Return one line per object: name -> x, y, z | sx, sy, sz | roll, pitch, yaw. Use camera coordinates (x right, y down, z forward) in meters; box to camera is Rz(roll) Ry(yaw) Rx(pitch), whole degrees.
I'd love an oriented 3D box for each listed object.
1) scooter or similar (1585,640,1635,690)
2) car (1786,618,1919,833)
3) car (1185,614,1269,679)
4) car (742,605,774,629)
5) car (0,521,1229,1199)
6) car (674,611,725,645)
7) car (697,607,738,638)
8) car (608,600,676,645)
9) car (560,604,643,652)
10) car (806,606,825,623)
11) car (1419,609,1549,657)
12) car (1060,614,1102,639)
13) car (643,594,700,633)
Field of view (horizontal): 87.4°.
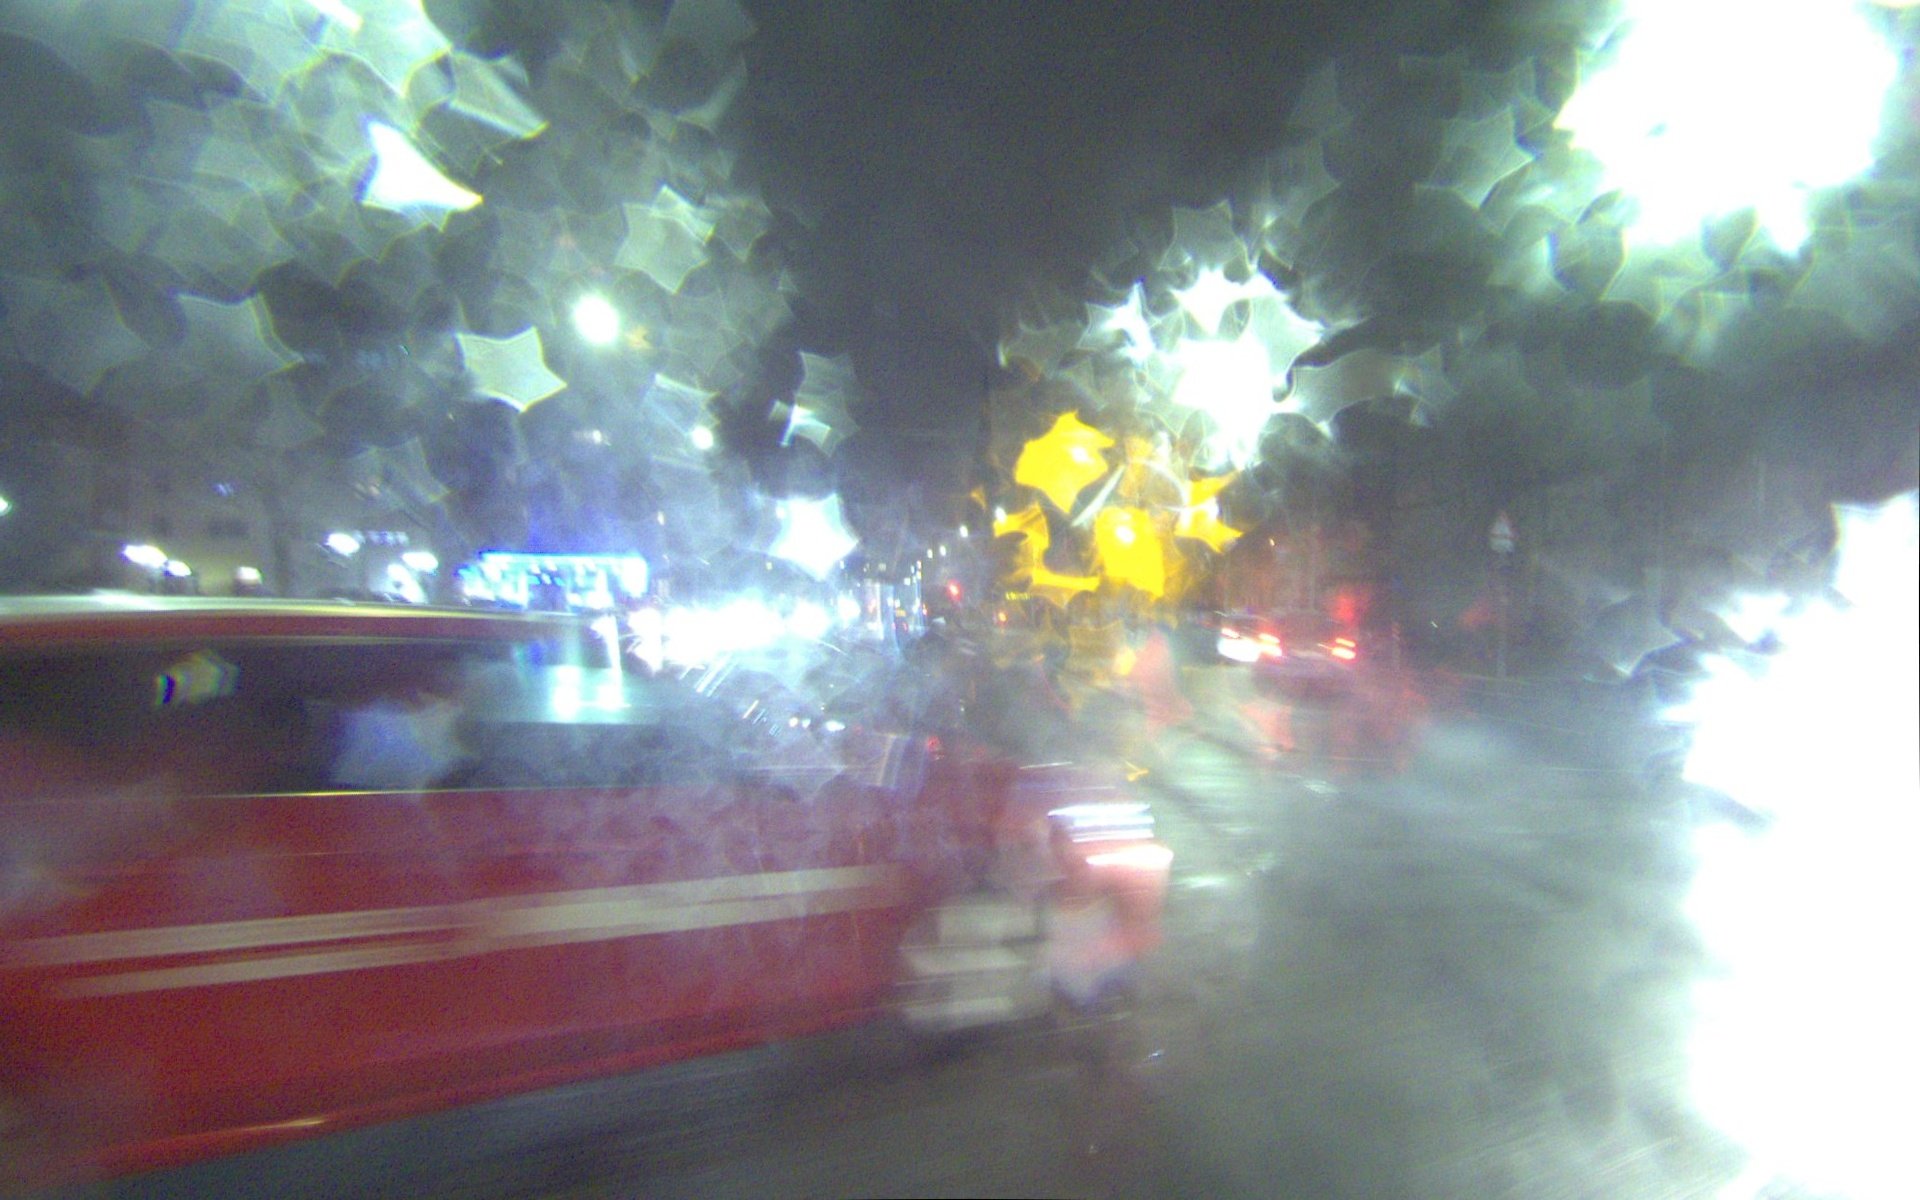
scooter or similar -> 16.992, 1.690, 26.261 | 1.060, 1.256, 0.285 | 1, 0, 32
car -> 8.742, 0.967, 8.402 | 3.945, 1.563, 1.697 | 1, 0, -33
car -> 8.014, 1.329, 30.491 | 1.859, 1.804, 4.336 | 0, 0, 7
car -> -15.475, 1.302, 77.126 | 1.862, 1.766, 4.737 | 1, 0, -4
car -> -1.420, 0.642, 3.371 | 4.674, 1.563, 1.808 | 1, 0, -32
car -> -14.243, 1.483, 55.144 | 1.862, 1.766, 4.737 | 1, 0, -4
car -> -14.537, 1.304, 60.444 | 1.863, 1.766, 4.734 | 1, 0, -7
car -> -13.191, 0.895, 41.898 | 1.863, 1.766, 4.734 | 1, 0, -7
car -> -12.527, 0.946, 35.374 | 1.863, 1.590, 4.328 | 1, 0, -7
car -> -15.595, 1.555, 108.686 | 1.863, 1.766, 4.734 | 1, 0, -7
car -> 19.927, 1.234, 38.276 | 4.114, 1.724, 1.701 | -1, 0, -6
car -> 9.324, 2.010, 77.686 | 2.050, 1.804, 4.325 | 1, 0, -10
car -> -13.629, 0.617, 47.739 | 1.863, 1.766, 4.734 | 1, 0, -7
